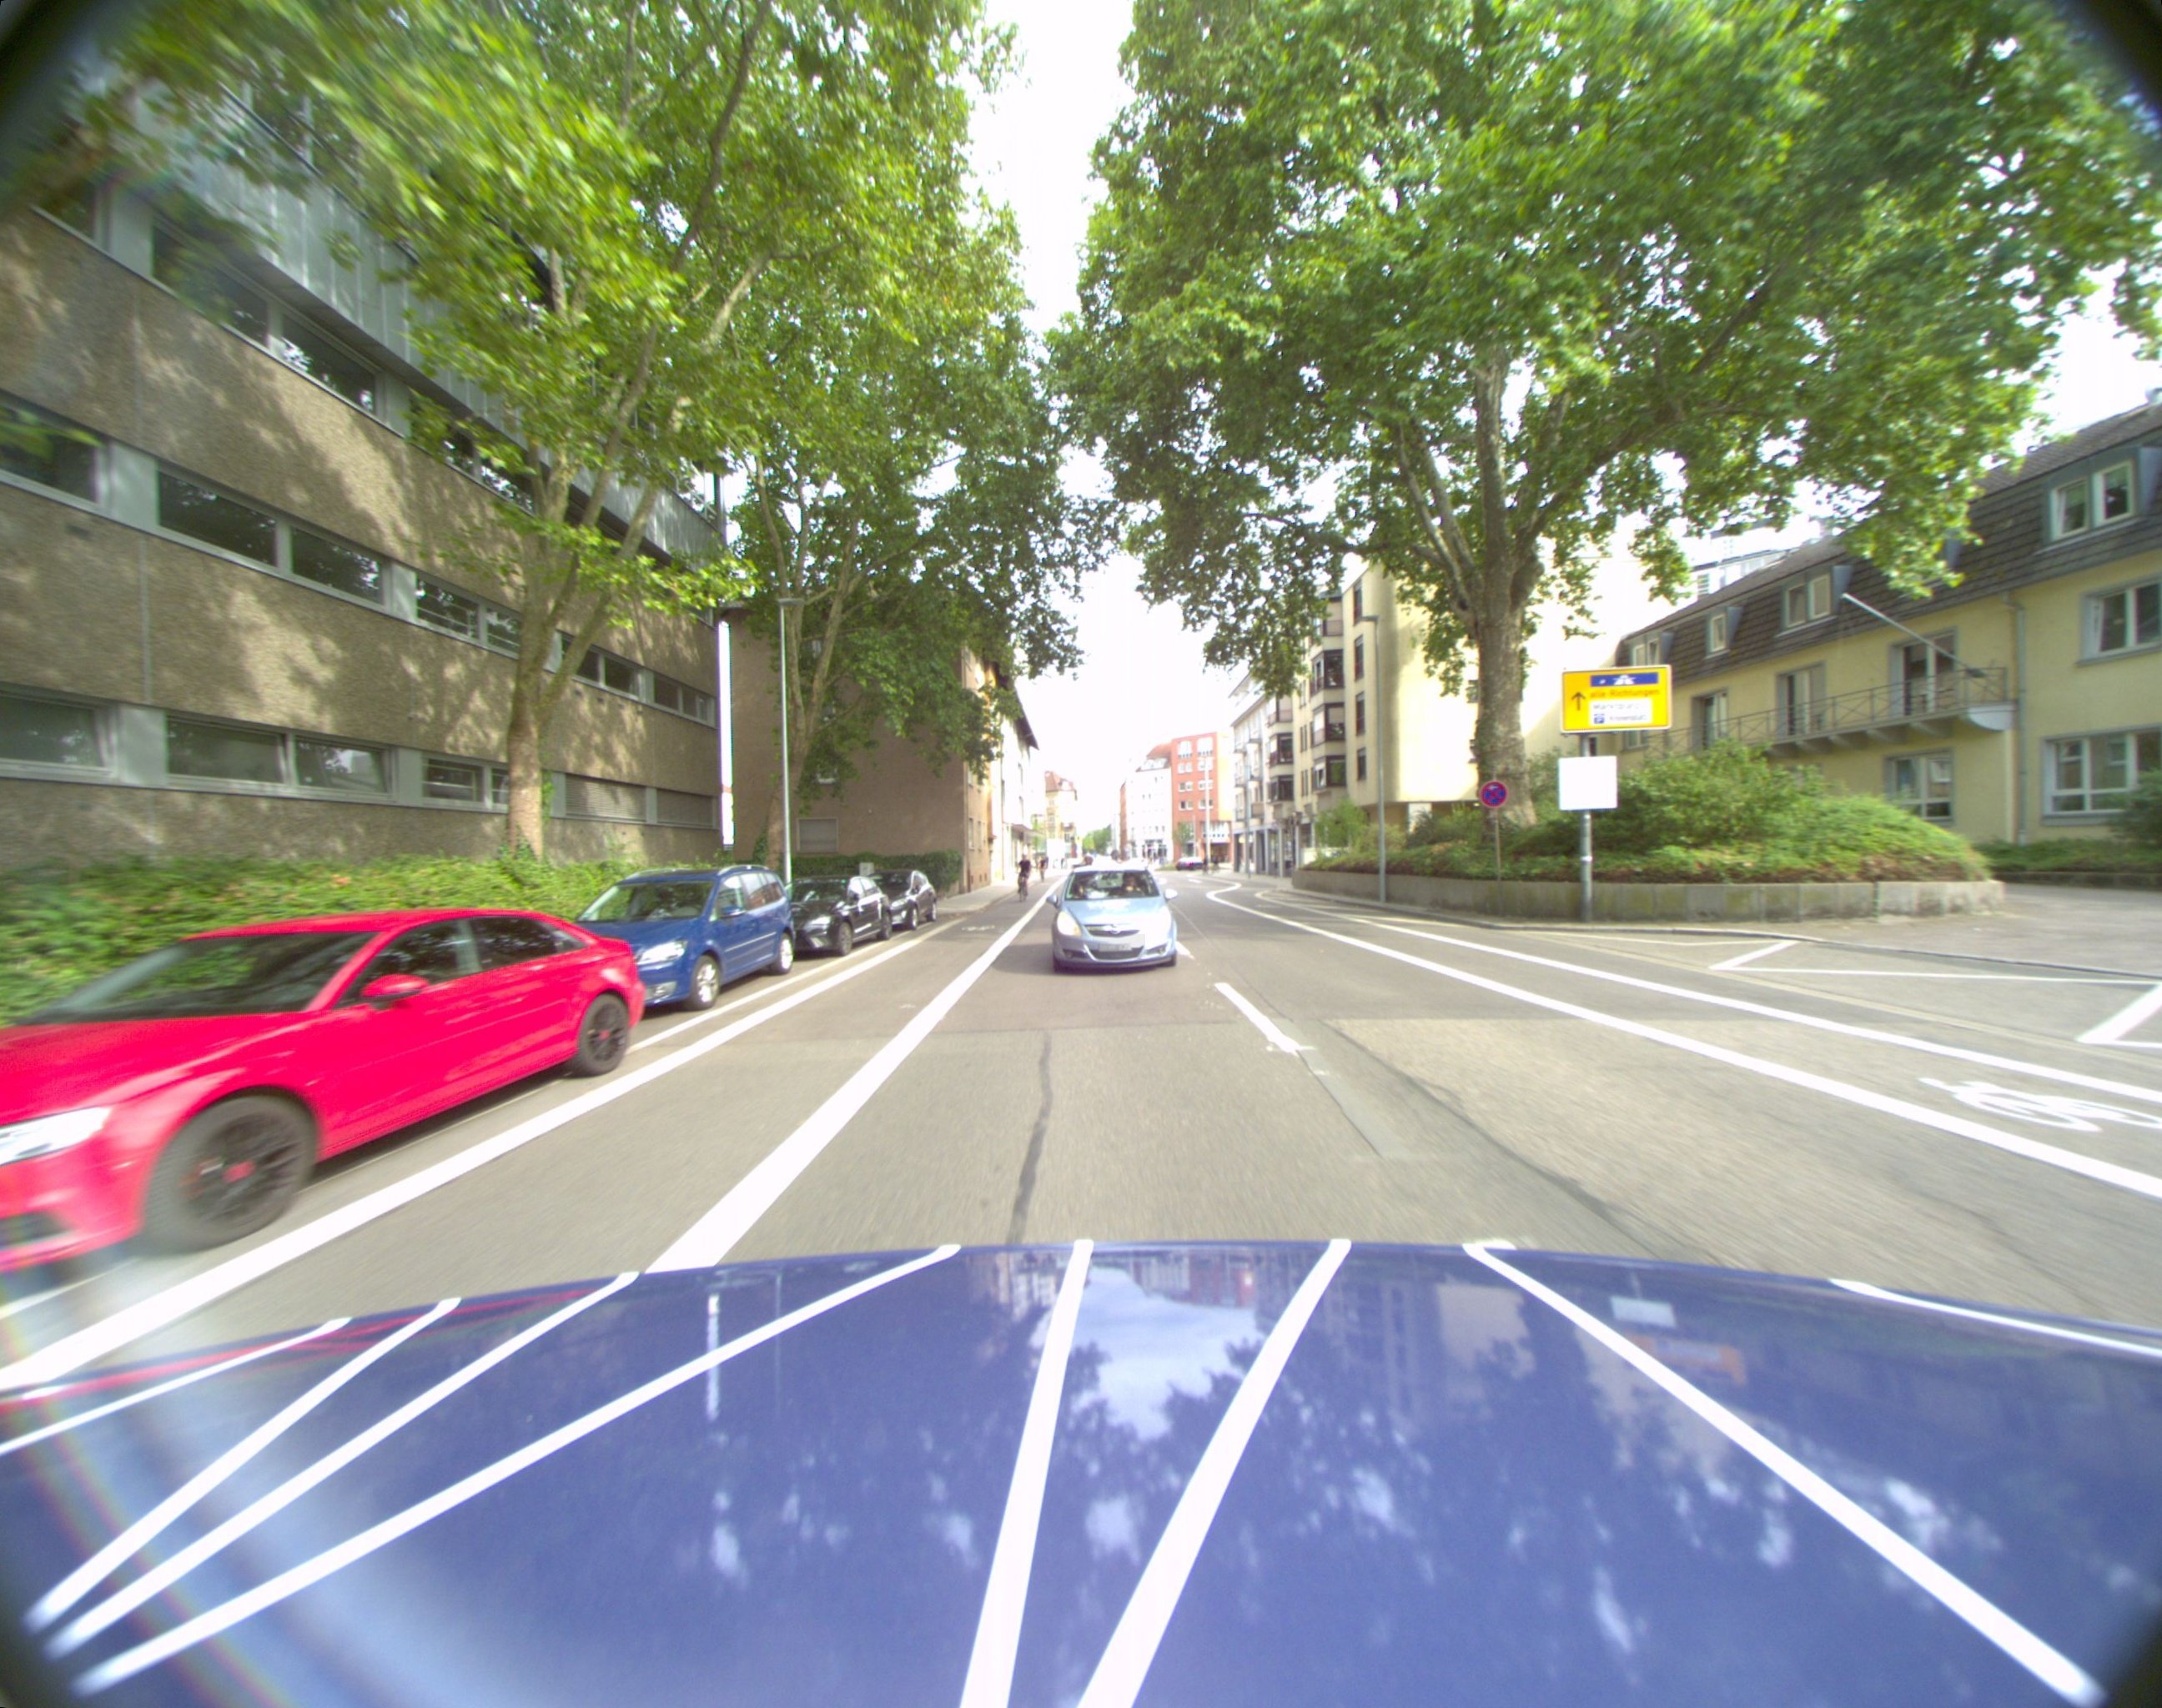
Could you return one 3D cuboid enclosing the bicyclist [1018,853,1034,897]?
[{"bbox_3d":[-2.179,0.837,29.965,0.560,1.699,0.862,-1,0,-1],"label":"bicyclist"}]

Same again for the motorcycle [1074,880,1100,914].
[{"bbox_3d":[0.204,1.339,24.022,0.570,0.962,2.015,-1,0,7],"label":"motorcycle"}]

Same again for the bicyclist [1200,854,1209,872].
[{"bbox_3d":[10.938,0.805,67.396,0.658,1.516,1.077,-3,-1,5],"label":"bicyclist"}]

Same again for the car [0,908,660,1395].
[{"bbox_3d":[-4.632,1.210,4.577,1.680,1.386,4.460,-2,0,0],"label":"car"}]

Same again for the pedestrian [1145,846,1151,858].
[{"bbox_3d":[10.142,-0.374,115.736,0.567,1.813,0.697,-1,0,45],"label":"pedestrian"}]

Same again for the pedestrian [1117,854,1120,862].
[{"bbox_3d":[8.132,0.861,163.572,0.541,1.712,0.520,-2,0,4],"label":"pedestrian"}]

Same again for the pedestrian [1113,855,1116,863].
[{"bbox_3d":[7.259,0.995,163.622,0.591,1.712,0.520,-1,0,5],"label":"pedestrian"}]

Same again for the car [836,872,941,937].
[{"bbox_3d":[-4.739,1.193,19.236,1.662,1.413,3.867,-1,-1,0],"label":"car"}]

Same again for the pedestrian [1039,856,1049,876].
[{"bbox_3d":[-3.215,1.027,66.432,0.753,1.740,0.859,-1,0,1],"label":"pedestrian"}]

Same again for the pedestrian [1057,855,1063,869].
[{"bbox_3d":[-2.746,1.049,98.275,0.658,1.841,0.971,-1,0,4],"label":"pedestrian"}]

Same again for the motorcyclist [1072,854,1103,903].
[{"bbox_3d":[0.216,0.774,24.208,0.871,1.508,1.044,-1,0,6],"label":"motorcyclist"}]

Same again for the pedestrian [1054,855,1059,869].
[{"bbox_3d":[-2.922,0.973,90.685,0.473,1.663,0.590,-1,1,1],"label":"pedestrian"}]

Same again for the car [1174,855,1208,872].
[{"bbox_3d":[11.356,1.003,78.238,1.812,1.398,4.620,-4,-6,31],"label":"car"}]

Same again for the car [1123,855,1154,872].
[{"bbox_3d":[6.576,1.069,87.072,1.995,1.867,4.007,-2,0,29],"label":"car"}]

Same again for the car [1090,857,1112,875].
[{"bbox_3d":[1.847,1.101,70.442,1.957,1.592,4.000,-1,0,2],"label":"car"}]

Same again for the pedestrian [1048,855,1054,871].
[{"bbox_3d":[-3.580,1.048,90.950,0.673,1.892,0.590,1,0,1],"label":"pedestrian"}]

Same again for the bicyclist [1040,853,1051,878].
[{"bbox_3d":[-2.349,0.751,49.980,0.613,1.593,0.847,-3,-1,0],"label":"bicyclist"}]

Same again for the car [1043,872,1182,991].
[{"bbox_3d":[0.460,1.019,11.500,1.723,1.394,4.001,-1,0,2],"label":"car"}]

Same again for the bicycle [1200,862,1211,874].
[{"bbox_3d":[11.070,1.244,67.585,0.739,1.001,2.196,-3,-1,4],"label":"bicycle"}]

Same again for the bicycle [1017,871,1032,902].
[{"bbox_3d":[-2.203,1.265,29.960,0.407,1.115,2.016,-3,1,-1],"label":"bicycle"}]

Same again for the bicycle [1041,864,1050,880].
[{"bbox_3d":[-2.320,1.173,49.903,0.489,0.994,1.748,-2,-1,0],"label":"bicycle"}]

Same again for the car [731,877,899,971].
[{"bbox_3d":[-4.873,1.218,14.519,1.661,1.413,3.947,-2,0,2],"label":"car"}]

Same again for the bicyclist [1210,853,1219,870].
[{"bbox_3d":[12.496,0.717,71.083,0.658,1.516,0.857,-3,-1,5],"label":"bicyclist"}]

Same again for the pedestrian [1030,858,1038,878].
[{"bbox_3d":[-4.124,1.223,66.512,0.606,1.659,0.944,-1,0,-1],"label":"pedestrian"}]

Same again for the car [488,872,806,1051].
[{"bbox_3d":[-5.137,1.123,9.817,1.662,1.641,4.419,-3,0,-3],"label":"car"}]

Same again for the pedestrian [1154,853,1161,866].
[{"bbox_3d":[11.555,0.859,114.321,0.719,1.959,1.016,1,0,28],"label":"pedestrian"}]

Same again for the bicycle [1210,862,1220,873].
[{"bbox_3d":[12.584,1.301,71.429,0.739,1.001,1.977,-3,-1,4],"label":"bicycle"}]
